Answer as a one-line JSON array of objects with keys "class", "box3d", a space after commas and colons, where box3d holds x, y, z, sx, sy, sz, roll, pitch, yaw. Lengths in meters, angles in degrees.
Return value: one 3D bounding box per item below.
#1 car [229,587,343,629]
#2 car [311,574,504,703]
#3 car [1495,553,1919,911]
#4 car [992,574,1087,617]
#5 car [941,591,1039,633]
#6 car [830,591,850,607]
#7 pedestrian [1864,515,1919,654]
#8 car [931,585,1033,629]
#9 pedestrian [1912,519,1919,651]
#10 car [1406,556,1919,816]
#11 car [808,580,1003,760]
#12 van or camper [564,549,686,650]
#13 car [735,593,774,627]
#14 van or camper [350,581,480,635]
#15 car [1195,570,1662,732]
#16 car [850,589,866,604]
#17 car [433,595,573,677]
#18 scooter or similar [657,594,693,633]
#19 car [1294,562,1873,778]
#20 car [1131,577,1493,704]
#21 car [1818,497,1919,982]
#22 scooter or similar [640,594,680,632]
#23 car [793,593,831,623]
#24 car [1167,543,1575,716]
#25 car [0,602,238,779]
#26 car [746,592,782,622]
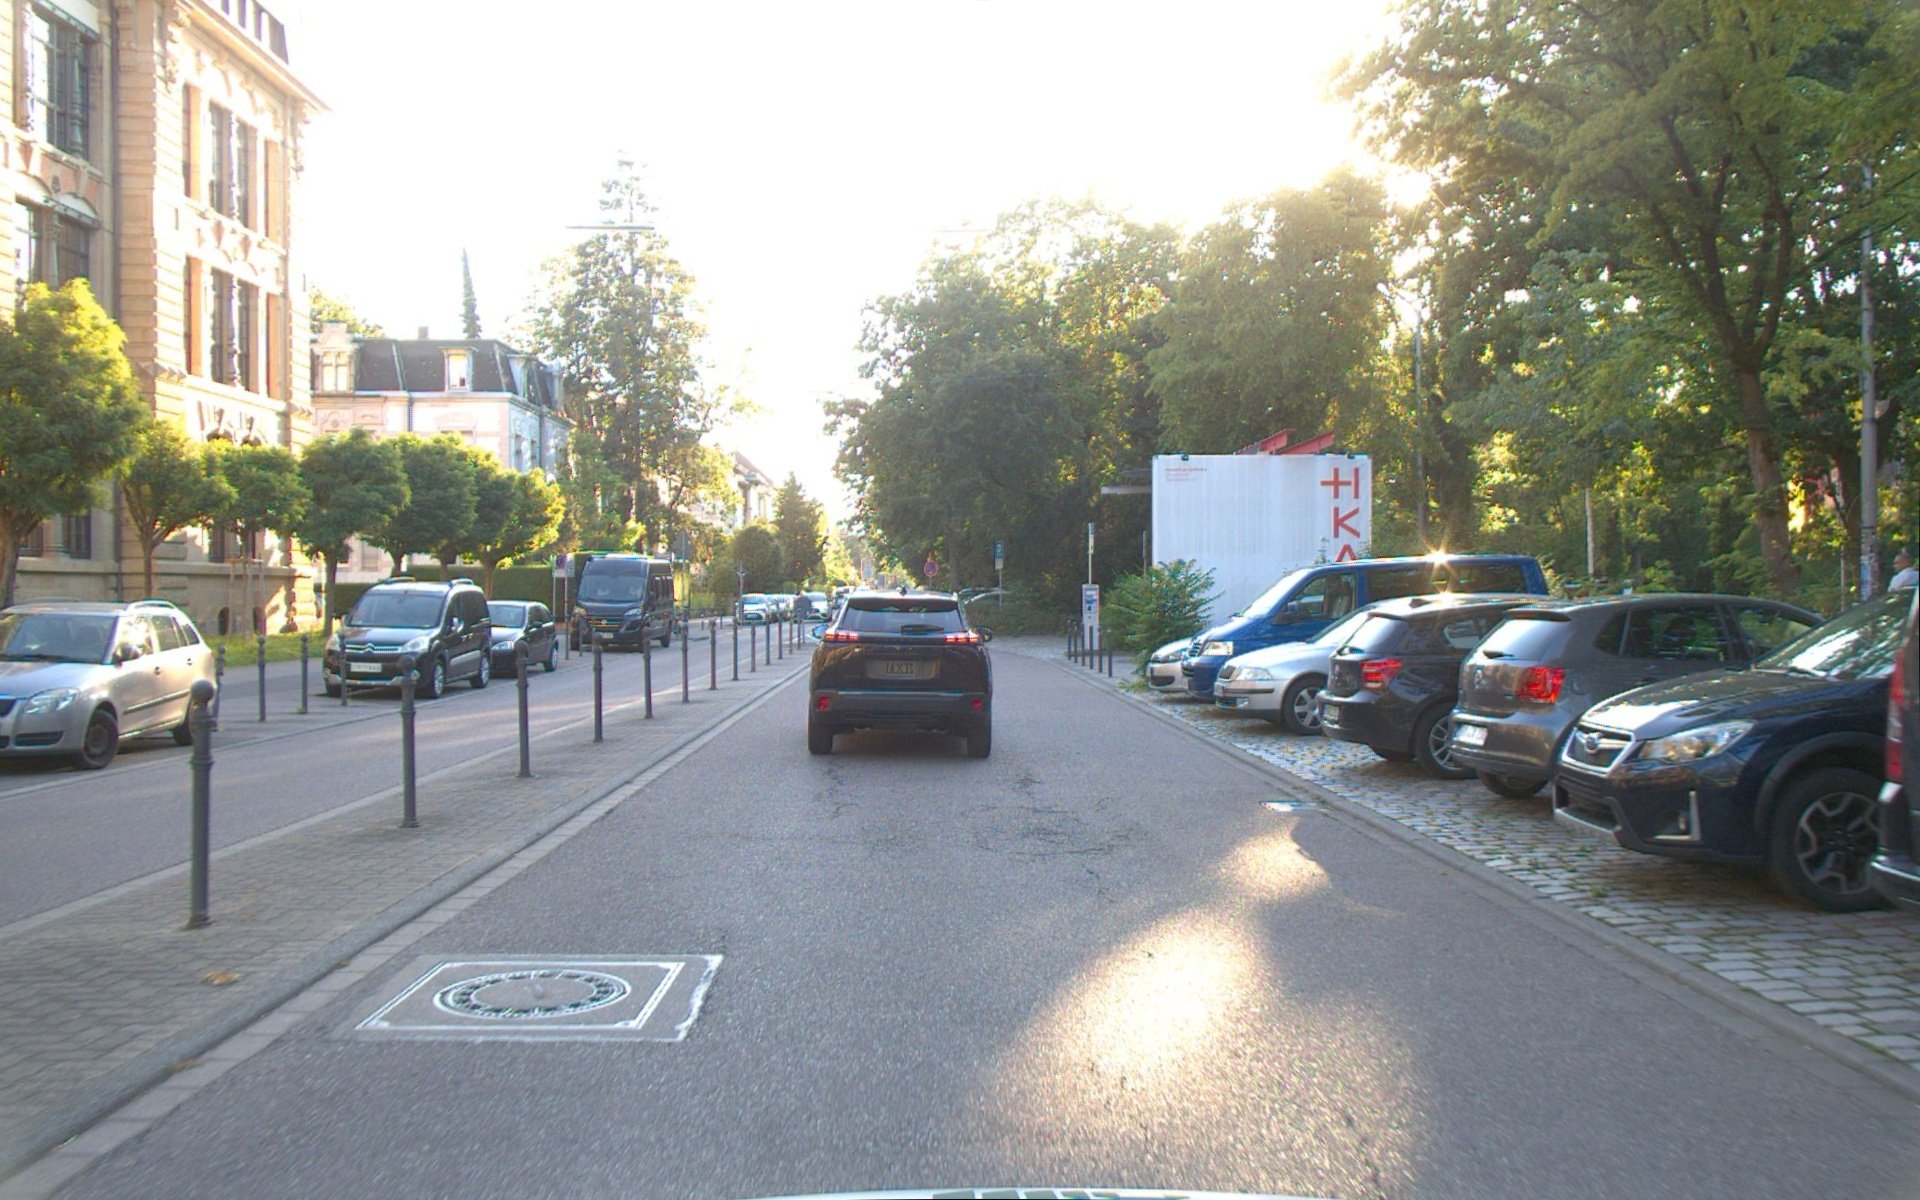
[{"class": "car", "box3d": [-27.796, 0.317, 68.297, 3.907, 1.703, 1.919, 0, 0, -3]}, {"class": "car", "box3d": [-9.005, 0.574, 27.332, 1.741, 1.898, 4.331, 2, 0, -1]}, {"class": "car", "box3d": [5.250, 0.541, 8.610, 4.275, 1.581, 1.875, -2, 0, -2]}, {"class": "car", "box3d": [3.697, -0.212, 77.589, 4.221, 1.836, 2.034, -2, 0, -3]}, {"class": "car", "box3d": [1.197, 0.485, 67.189, 3.906, 1.581, 1.725, -1, 1, -2]}, {"class": "car", "box3d": [-12.342, -0.092, 170.408, 1.861, 1.601, 3.998, 0, 0, -2]}, {"class": "pedestrian", "box3d": [12.488, -0.205, 21.836, 0.651, 1.803, 0.785, 0, 1, -6]}, {"class": "car", "box3d": [0.849, 0.262, 64.774, 3.906, 1.581, 1.725, -1, 1, -2]}, {"class": "pedestrian", "box3d": [13.411, -0.208, 22.300, 0.634, 1.803, 0.789, 0, -1, -6]}, {"class": "car", "box3d": [5.615, 0.528, 11.812, 4.275, 1.564, 1.920, -2, 0, -2]}, {"class": "car", "box3d": [-0.539, 0.608, 16.958, 1.736, 1.596, 4.108, 1, 1, -1]}, {"class": "van or camper", "box3d": [-9.333, -0.012, 46.710, 2.185, 2.589, 7.077, 1, 0, -2]}, {"class": "car", "box3d": [-10.154, 0.485, 81.869, 1.582, 1.541, 3.709, -2, 0, -3]}, {"class": "van or camper", "box3d": [-22.565, 0.311, 68.573, 4.670, 2.020, 2.001, 0, 4, 0]}, {"class": "car", "box3d": [5.314, 0.553, 19.196, 4.828, 1.581, 1.915, -2, 0, -2]}, {"class": "car", "box3d": [-12.833, -0.411, 208.359, 1.953, 1.847, 3.998, 0, 0, -2]}, {"class": "car", "box3d": [-9.067, 0.679, 33.107, 1.661, 1.496, 3.854, 2, 0, 0]}, {"class": "scooter or similar", "box3d": [-9.807, 0.457, 56.885, 0.423, 1.297, 1.340, 0, 0, 33]}, {"class": "car", "box3d": [5.275, 0.560, 14.400, 4.275, 1.564, 1.920, -2, 0, -2]}, {"class": "car", "box3d": [5.065, 0.558, 24.234, 4.828, 1.581, 1.915, -2, 0, -2]}, {"class": "car", "box3d": [5.707, 0.438, 5.896, 4.275, 1.811, 1.920, -2, 0, -2]}, {"class": "scooter or similar", "box3d": [-10.366, 0.457, 57.236, 1.330, 1.297, 0.426, 0, 0, -37]}, {"class": "car", "box3d": [-7.674, 0.383, 86.182, 1.706, 1.483, 4.622, -1, 0, -2]}, {"class": "car", "box3d": [5.244, 0.355, 21.513, 4.755, 1.949, 1.915, -2, 0, -2]}, {"class": "car", "box3d": [-8.896, 0.800, 16.716, 1.686, 1.522, 4.371, 0, 0, -6]}, {"class": "car", "box3d": [-10.375, 0.350, 87.759, 1.581, 1.511, 3.740, -1, 0, -2]}]
